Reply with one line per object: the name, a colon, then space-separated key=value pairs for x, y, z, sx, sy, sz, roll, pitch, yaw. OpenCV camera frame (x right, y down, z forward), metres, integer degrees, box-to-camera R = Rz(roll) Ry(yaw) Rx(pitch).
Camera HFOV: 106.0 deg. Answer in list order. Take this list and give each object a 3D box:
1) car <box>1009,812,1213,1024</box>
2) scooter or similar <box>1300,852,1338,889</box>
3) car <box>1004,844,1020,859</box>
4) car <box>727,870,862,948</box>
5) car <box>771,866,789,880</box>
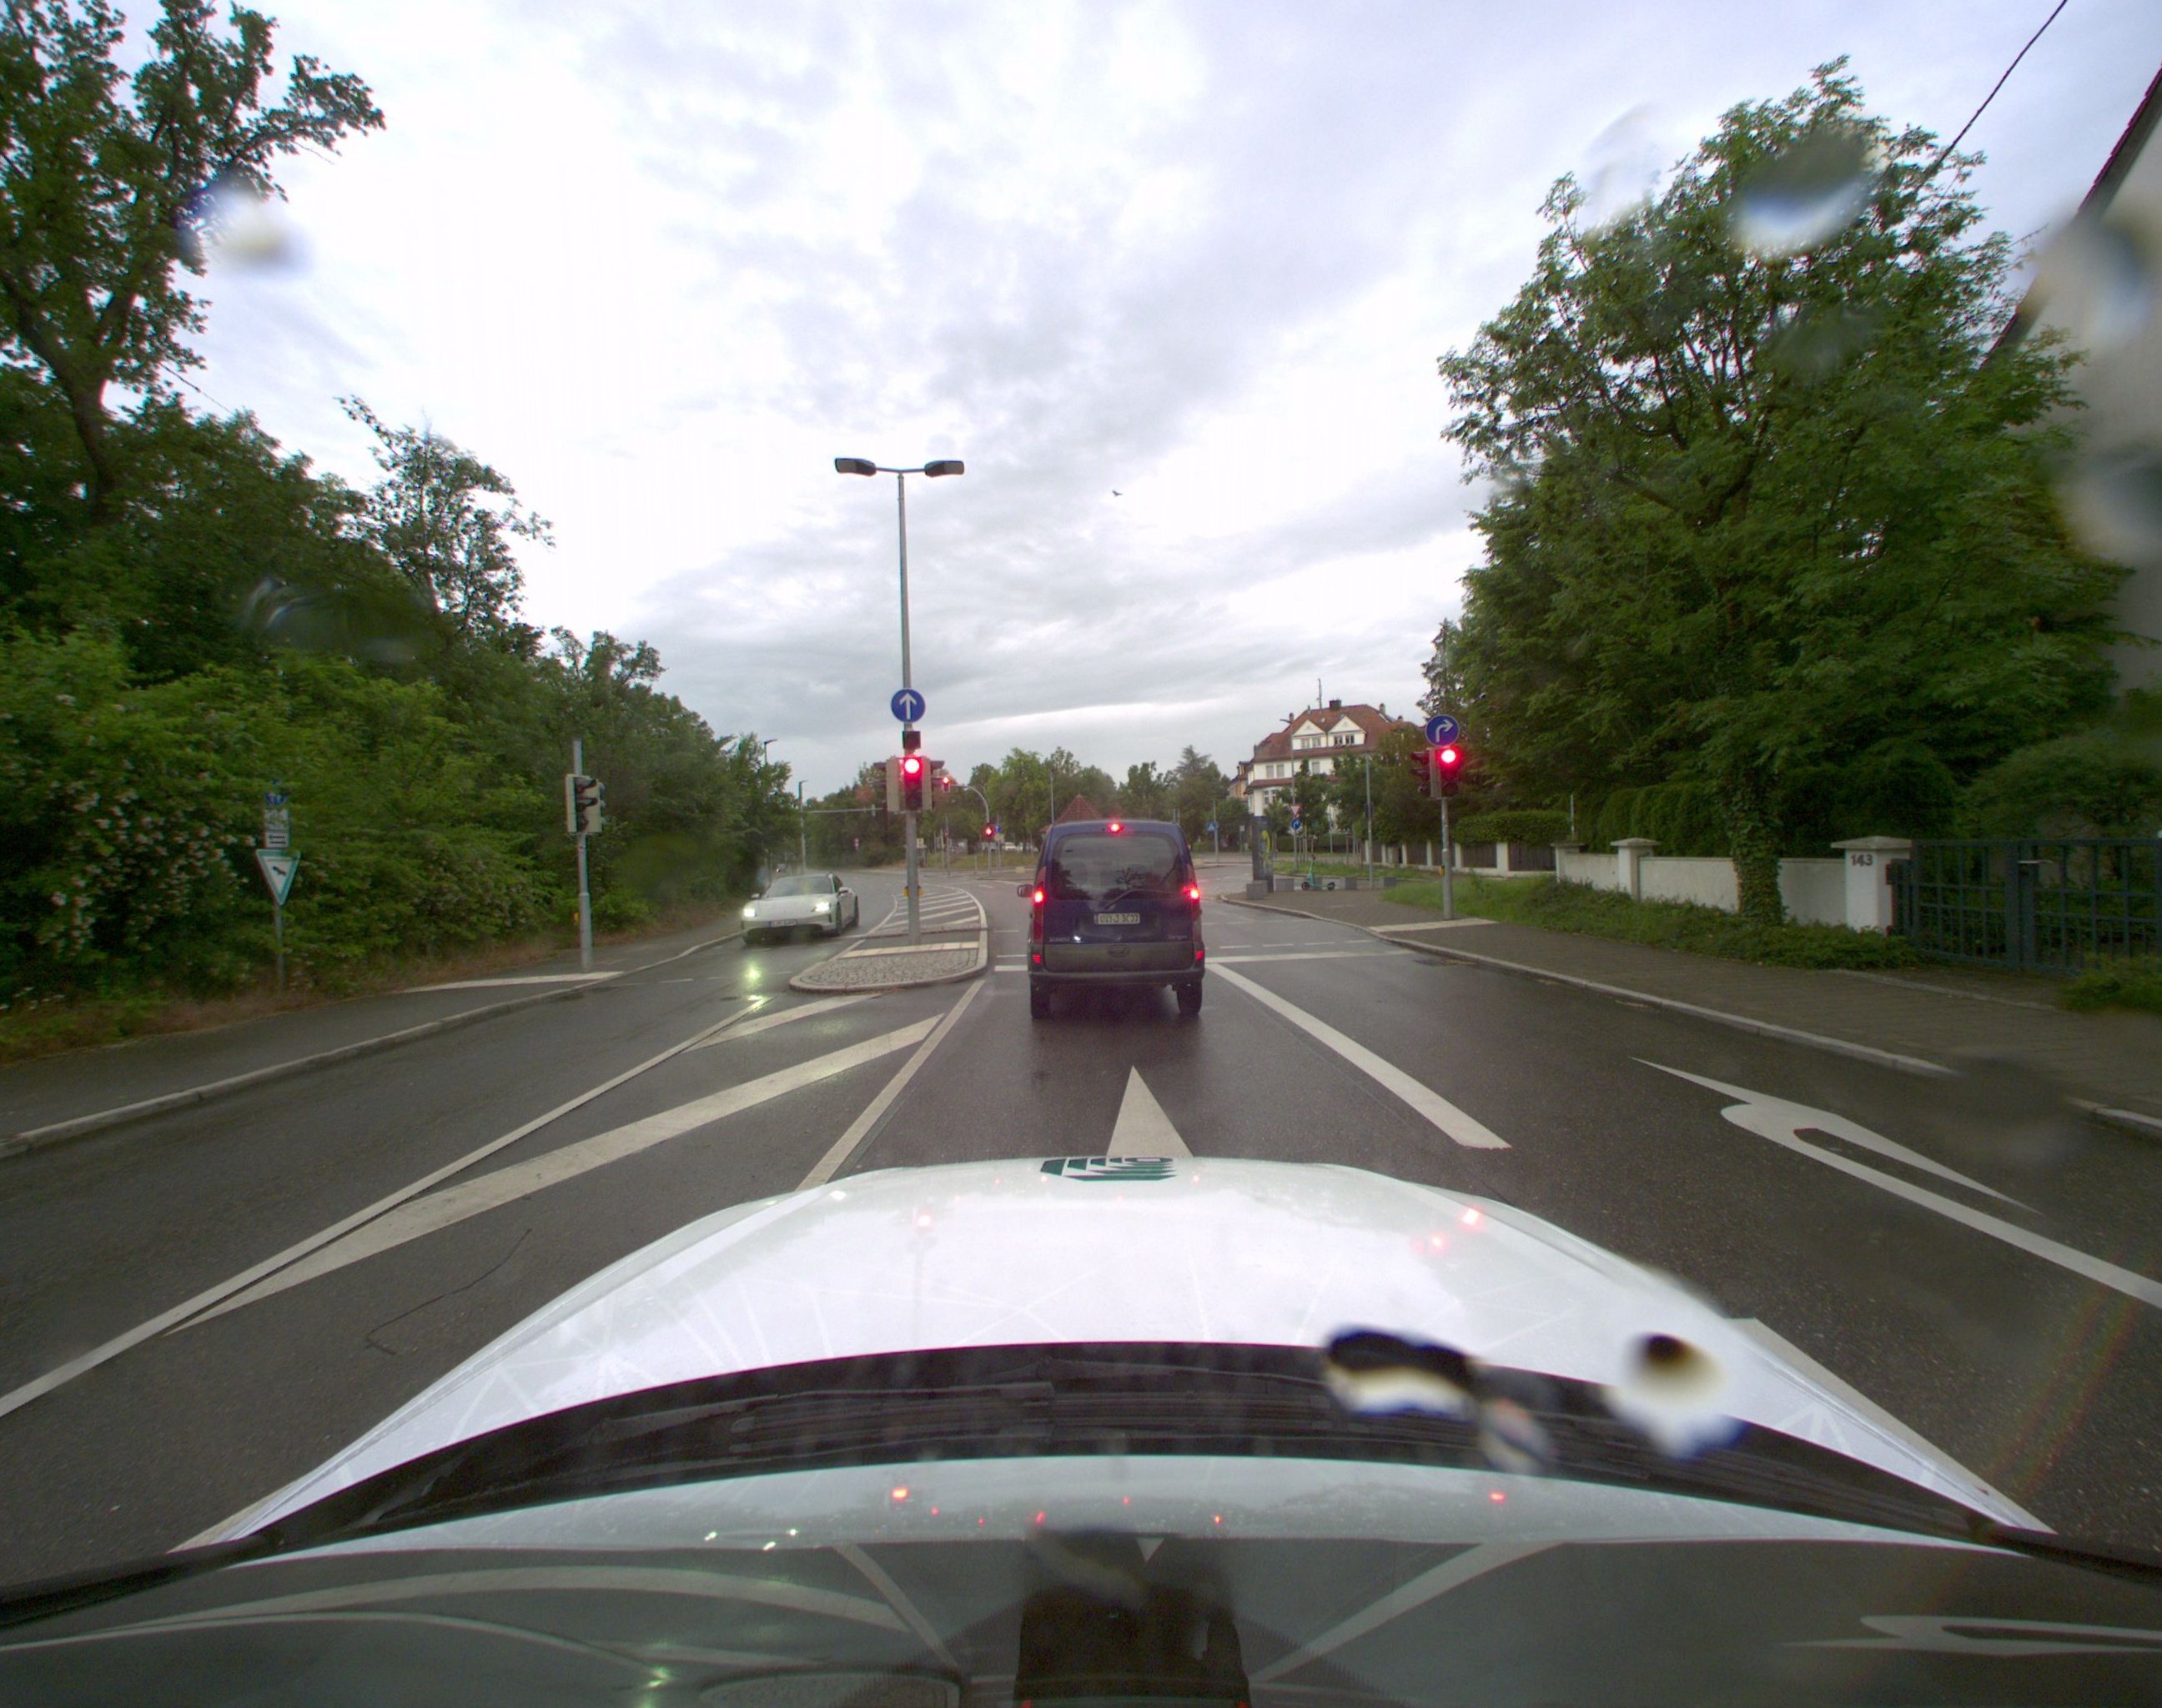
car: x=0.261 y=0.539 z=9.013 sx=1.726 sy=1.786 sz=3.999 roll=-1 pitch=0 yaw=0
scooter or similar: x=8.087 y=0.558 z=27.710 sx=1.145 sy=1.219 sz=0.406 roll=-2 pitch=-1 yaw=1
car: x=-9.364 y=-0.318 z=110.390 sx=1.989 sy=1.812 sz=3.995 roll=-1 pitch=-1 yaw=-3
car: x=-6.343 y=1.151 z=18.578 sx=1.993 sy=1.311 sz=4.347 roll=-5 pitch=1 yaw=-8
car: x=-44.690 y=2.857 z=120.756 sx=2.005 sy=2.014 sz=3.964 roll=-1 pitch=-1 yaw=-27
